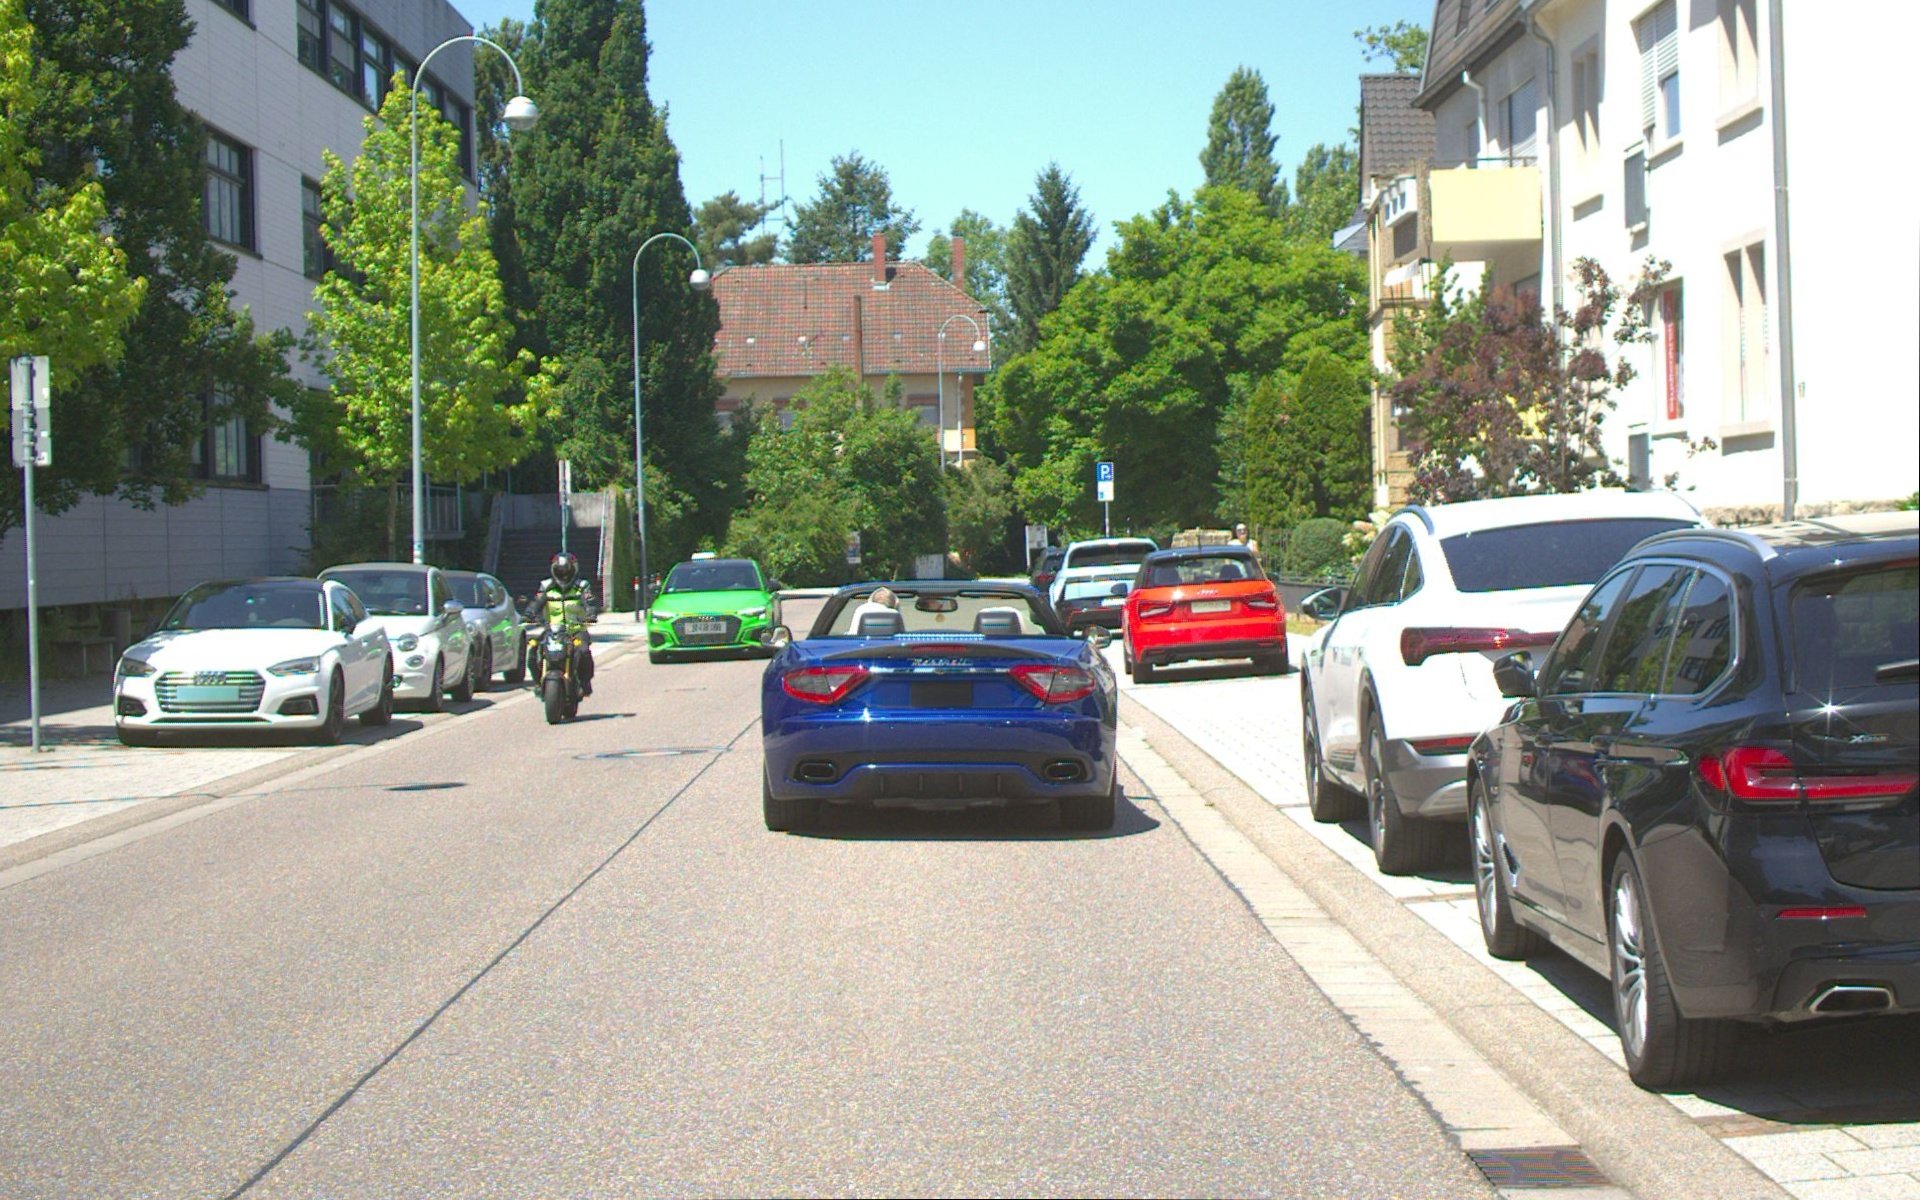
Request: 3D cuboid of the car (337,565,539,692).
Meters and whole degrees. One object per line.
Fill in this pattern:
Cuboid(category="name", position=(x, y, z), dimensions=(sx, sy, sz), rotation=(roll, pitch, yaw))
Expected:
Cuboid(category="car", position=(-6.183, 0.307, 41.116), dimensions=(1.748, 1.404, 3.933), rotation=(0, 1, 1))

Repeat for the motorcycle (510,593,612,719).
Cuboid(category="motorcycle", position=(-3.742, 0.515, 32.372), dimensions=(0.699, 1.103, 1.790), rotation=(-3, 1, 0))

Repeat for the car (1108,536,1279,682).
Cuboid(category="car", position=(2.541, 0.061, 38.152), dimensions=(1.603, 1.436, 3.853), rotation=(-4, 1, 1))

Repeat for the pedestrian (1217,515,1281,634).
Cuboid(category="pedestrian", position=(4.193, -0.369, 49.868), dimensions=(0.740, 1.664, 0.706), rotation=(-4, 1, -1))

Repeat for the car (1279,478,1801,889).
Cuboid(category="car", position=(2.635, 0.314, 16.645), dimensions=(1.705, 1.660, 4.580), rotation=(-2, 1, 0))

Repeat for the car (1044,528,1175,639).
Cuboid(category="car", position=(2.349, -0.289, 54.929), dimensions=(1.843, 1.614, 4.427), rotation=(-3, 1, 0))

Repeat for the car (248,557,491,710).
Cuboid(category="car", position=(-6.171, 0.306, 36.360), dimensions=(1.822, 1.507, 4.289), rotation=(-1, 1, 0))

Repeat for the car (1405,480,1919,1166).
Cuboid(category="car", position=(2.578, 0.453, 10.487), dimensions=(1.705, 1.551, 4.748), rotation=(-5, 1, 0))

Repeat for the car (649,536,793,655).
Cuboid(category="car", position=(-3.440, -0.087, 50.127), dimensions=(1.822, 1.583, 4.101), rotation=(-3, 1, -1))

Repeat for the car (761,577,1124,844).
Cuboid(category="car", position=(-0.098, 0.541, 19.678), dimensions=(1.826, 1.332, 4.700), rotation=(0, 1, 0))

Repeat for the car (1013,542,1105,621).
Cuboid(category="car", position=(1.970, -0.397, 69.439), dimensions=(1.631, 1.441, 4.398), rotation=(-4, 1, 0))

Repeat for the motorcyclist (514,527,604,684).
Cuboid(category="motorcyclist", position=(-3.764, 0.050, 32.287), dimensions=(0.699, 1.428, 0.707), rotation=(-3, 1, 0))

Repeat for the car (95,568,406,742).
Cuboid(category="car", position=(-6.205, 0.434, 30.573), dimensions=(1.822, 1.406, 4.577), rotation=(0, 1, 0))
